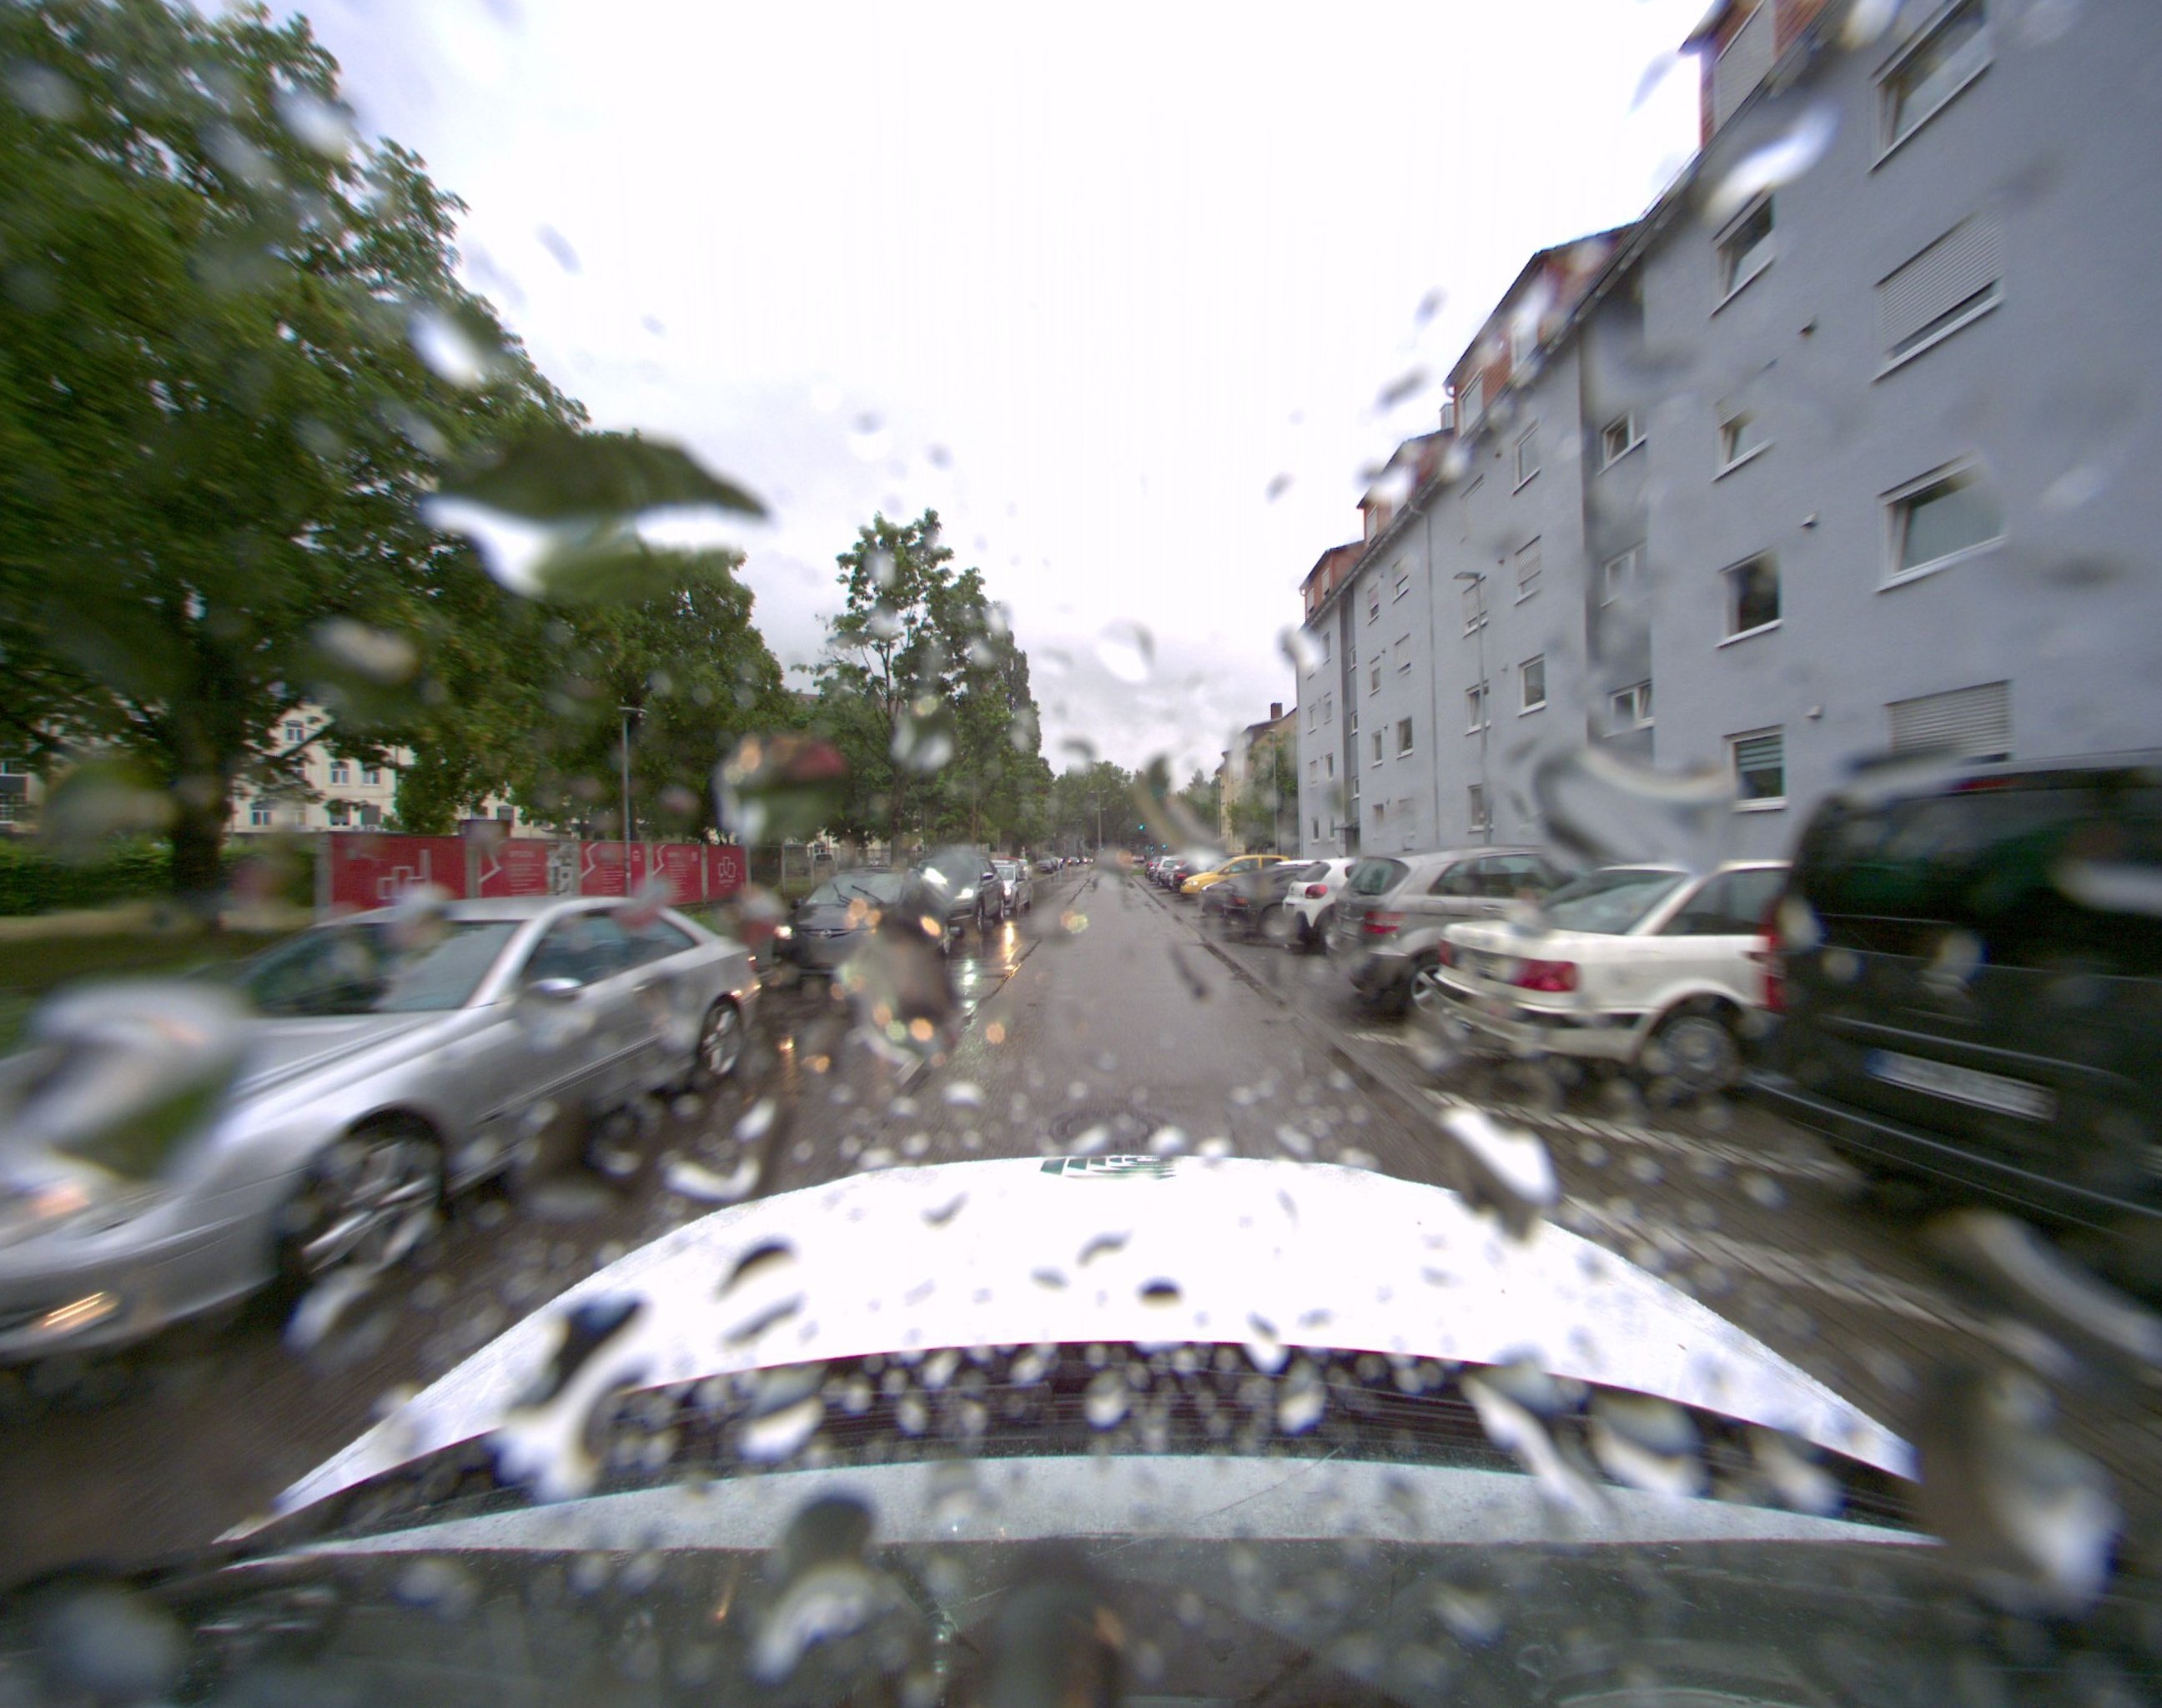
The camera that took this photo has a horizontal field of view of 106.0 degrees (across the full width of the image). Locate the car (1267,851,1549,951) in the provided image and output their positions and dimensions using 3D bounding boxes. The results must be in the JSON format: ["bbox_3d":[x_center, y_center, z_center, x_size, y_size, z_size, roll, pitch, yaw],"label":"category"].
[{"bbox_3d":[5.137,0.704,13.184,3.842,1.454,1.836,-1,0,-1],"label":"car"}]

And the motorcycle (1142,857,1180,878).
[{"bbox_3d":[5.278,0.884,53.952,2.393,1.324,0.918,0,-1,-3],"label":"motorcycle"}]

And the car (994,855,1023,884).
[{"bbox_3d":[-4.195,0.887,47.628,1.622,1.598,4.195,0,-1,-4],"label":"car"}]

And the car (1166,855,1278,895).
[{"bbox_3d":[5.367,0.798,31.498,4.080,1.458,2.002,0,0,3],"label":"car"}]

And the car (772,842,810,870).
[{"bbox_3d":[-22.408,0.161,62.837,2.006,2.122,3.961,0,-1,-30],"label":"car"}]

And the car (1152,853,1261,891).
[{"bbox_3d":[5.268,0.752,34.639,4.326,1.552,2.040,0,-1,1],"label":"car"}]

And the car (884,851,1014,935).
[{"bbox_3d":[-2.809,0.791,18.467,1.906,1.639,4.825,0,-1,3],"label":"car"}]

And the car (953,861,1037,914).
[{"bbox_3d":[-2.485,0.939,24.503,1.664,1.383,4.258,-1,0,5],"label":"car"}]

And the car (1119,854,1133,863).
[{"bbox_3d":[7.736,0.800,140.921,1.847,1.524,4.144,-1,0,-6],"label":"car"}]

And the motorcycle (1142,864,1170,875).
[{"bbox_3d":[5.653,1.142,61.447,2.061,0.792,0.712,0,0,8],"label":"motorcycle"}]

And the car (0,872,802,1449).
[{"bbox_3d":[-3.268,0.833,4.486,1.769,1.403,4.829,0,-1,0],"label":"car"}]

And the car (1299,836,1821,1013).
[{"bbox_3d":[4.517,0.635,8.196,4.167,1.572,1.890,0,-1,0],"label":"car"}]

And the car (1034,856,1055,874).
[{"bbox_3d":[-3.454,0.974,75.971,1.773,1.530,3.993,0,1,-5],"label":"car"}]

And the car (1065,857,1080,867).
[{"bbox_3d":[-1.364,1.248,128.297,1.991,1.486,3.991,0,-1,-6],"label":"car"}]

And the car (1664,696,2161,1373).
[{"bbox_3d":[4.960,0.434,3.023,4.221,1.805,1.943,-2,-1,-2],"label":"car"}]

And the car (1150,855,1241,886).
[{"bbox_3d":[5.549,0.790,39.599,4.246,1.454,1.988,0,0,7],"label":"car"}]

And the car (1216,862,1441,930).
[{"bbox_3d":[4.672,0.782,15.855,3.837,1.207,1.957,-1,0,3],"label":"car"}]

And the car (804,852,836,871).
[{"bbox_3d":[-20.486,0.602,63.900,1.715,1.434,3.615,0,-1,-30],"label":"car"}]

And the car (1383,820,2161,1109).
[{"bbox_3d":[4.512,0.629,5.582,4.176,1.568,1.888,-1,-1,-1],"label":"car"}]

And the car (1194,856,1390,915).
[{"bbox_3d":[5.308,0.779,21.006,4.608,1.436,2.002,0,-1,3],"label":"car"}]

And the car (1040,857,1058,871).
[{"bbox_3d":[-3.568,1.149,90.782,1.923,1.484,3.997,-1,0,-2],"label":"car"}]

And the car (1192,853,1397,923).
[{"bbox_3d":[4.696,0.728,18.397,4.128,1.486,2.013,0,-1,1],"label":"car"}]

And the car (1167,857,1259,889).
[{"bbox_3d":[5.975,0.842,37.171,3.972,1.412,1.846,0,0,1],"label":"car"}]

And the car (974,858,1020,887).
[{"bbox_3d":[-4.293,0.932,42.257,1.653,1.460,4.178,0,-1,5],"label":"car"}]

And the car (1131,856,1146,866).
[{"bbox_3d":[8.921,1.040,126.370,1.846,1.524,3.994,-1,0,-4],"label":"car"}]

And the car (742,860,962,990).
[{"bbox_3d":[-2.976,0.845,11.622,1.772,1.420,4.267,-1,0,2],"label":"car"}]

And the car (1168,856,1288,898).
[{"bbox_3d":[5.162,0.793,28.894,3.973,1.442,1.782,0,-1,1],"label":"car"}]

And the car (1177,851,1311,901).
[{"bbox_3d":[5.171,0.705,26.283,3.974,1.552,1.852,0,-1,0],"label":"car"}]

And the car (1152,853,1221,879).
[{"bbox_3d":[6.366,0.747,49.471,3.974,1.552,1.905,0,-1,0],"label":"car"}]

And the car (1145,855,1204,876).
[{"bbox_3d":[6.499,0.815,56.807,3.971,1.461,1.935,0,-1,2],"label":"car"}]

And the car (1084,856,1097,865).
[{"bbox_3d":[1.675,1.182,147.108,1.740,1.689,3.988,0,-1,-9],"label":"car"}]

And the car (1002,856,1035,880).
[{"bbox_3d":[-4.250,0.949,55.950,1.762,1.529,4.598,0,-1,1],"label":"car"}]

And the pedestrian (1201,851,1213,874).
[{"bbox_3d":[11.032,0.754,71.505,1.004,2.014,0.955,0,-1,11],"label":"pedestrian"}]

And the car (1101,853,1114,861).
[{"bbox_3d":[5.115,0.549,156.515,1.848,1.524,3.990,-1,0,-7],"label":"car"}]
